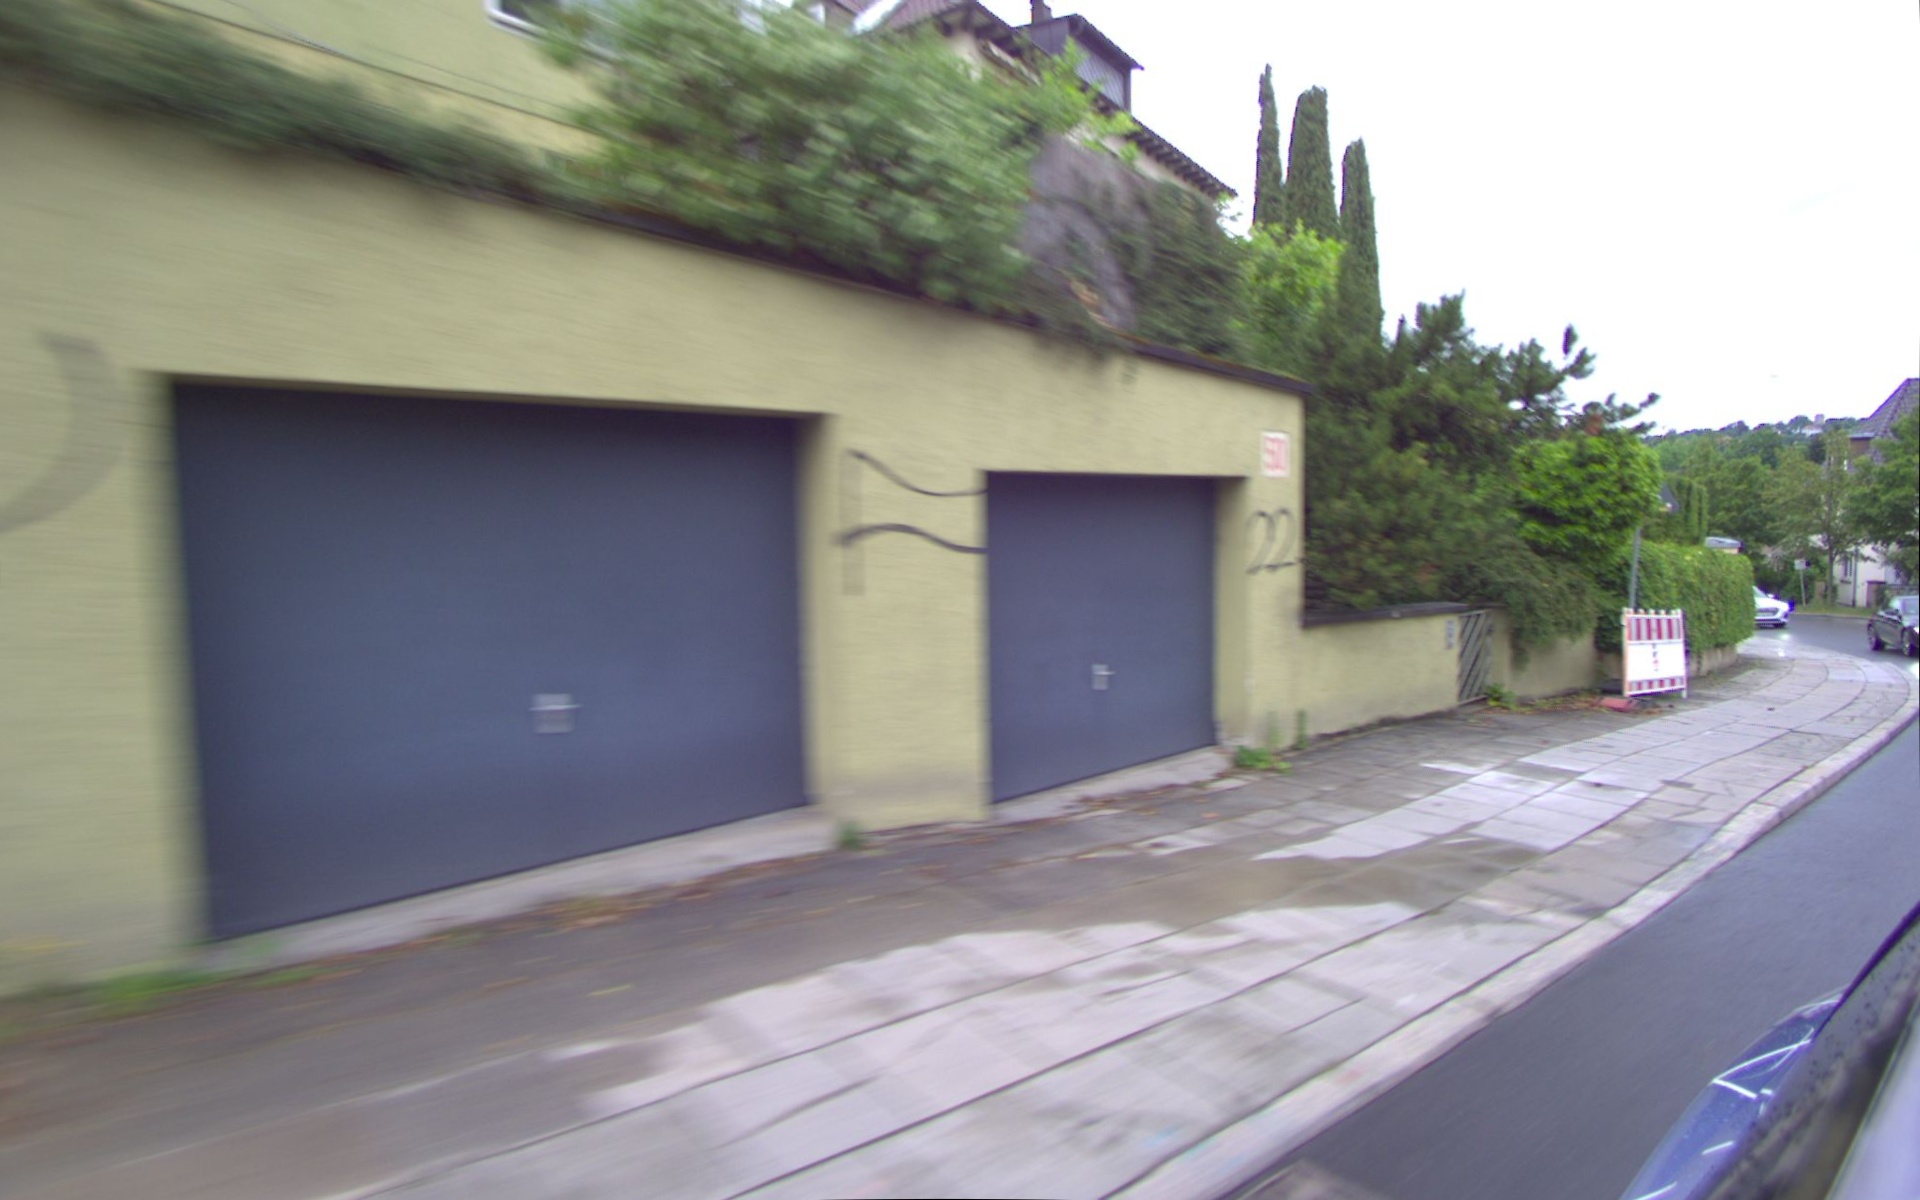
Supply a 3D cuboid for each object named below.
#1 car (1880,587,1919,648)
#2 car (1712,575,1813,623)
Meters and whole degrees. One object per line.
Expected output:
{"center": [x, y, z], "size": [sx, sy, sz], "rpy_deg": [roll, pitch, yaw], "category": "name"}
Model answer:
{"center": [24.045, 0.415, 24.468], "size": [1.829, 1.420, 4.028], "rpy_deg": [1, 2, 30], "category": "car"}
{"center": [30.898, -0.103, 39.131], "size": [1.980, 1.730, 4.537], "rpy_deg": [1, 1, 24], "category": "car"}
